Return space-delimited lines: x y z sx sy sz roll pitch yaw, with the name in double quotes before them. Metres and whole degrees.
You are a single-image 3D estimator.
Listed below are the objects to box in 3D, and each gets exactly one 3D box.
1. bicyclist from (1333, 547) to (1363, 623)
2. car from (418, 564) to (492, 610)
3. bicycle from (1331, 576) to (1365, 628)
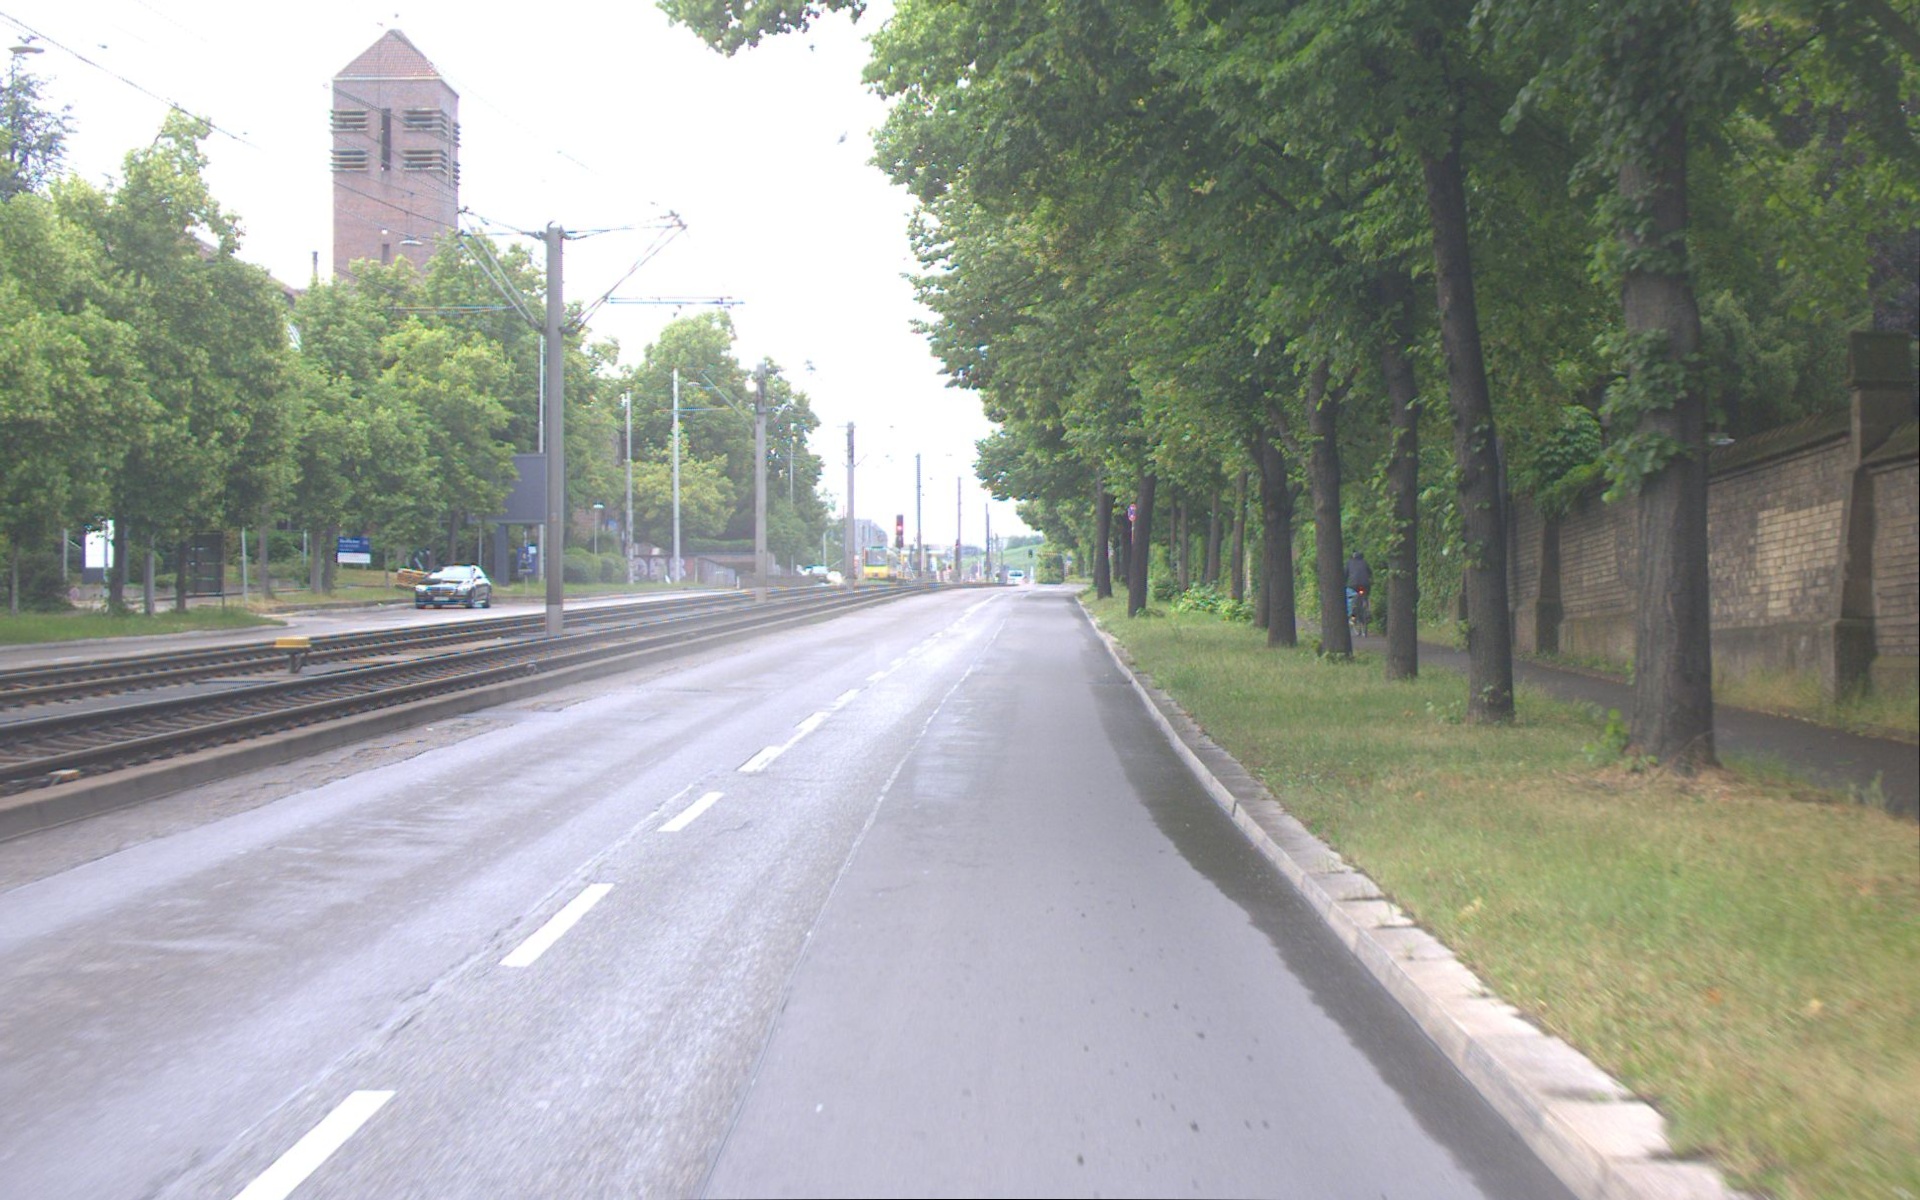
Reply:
"bicyclist" 7.186 -0.279 63.687 0.535 1.385 0.666 0 0 5
"car" -17.059 -0.450 116.297 1.794 1.525 4.622 0 1 0
"bicycle" 7.188 0.022 63.717 0.543 0.945 2.549 0 0 5
